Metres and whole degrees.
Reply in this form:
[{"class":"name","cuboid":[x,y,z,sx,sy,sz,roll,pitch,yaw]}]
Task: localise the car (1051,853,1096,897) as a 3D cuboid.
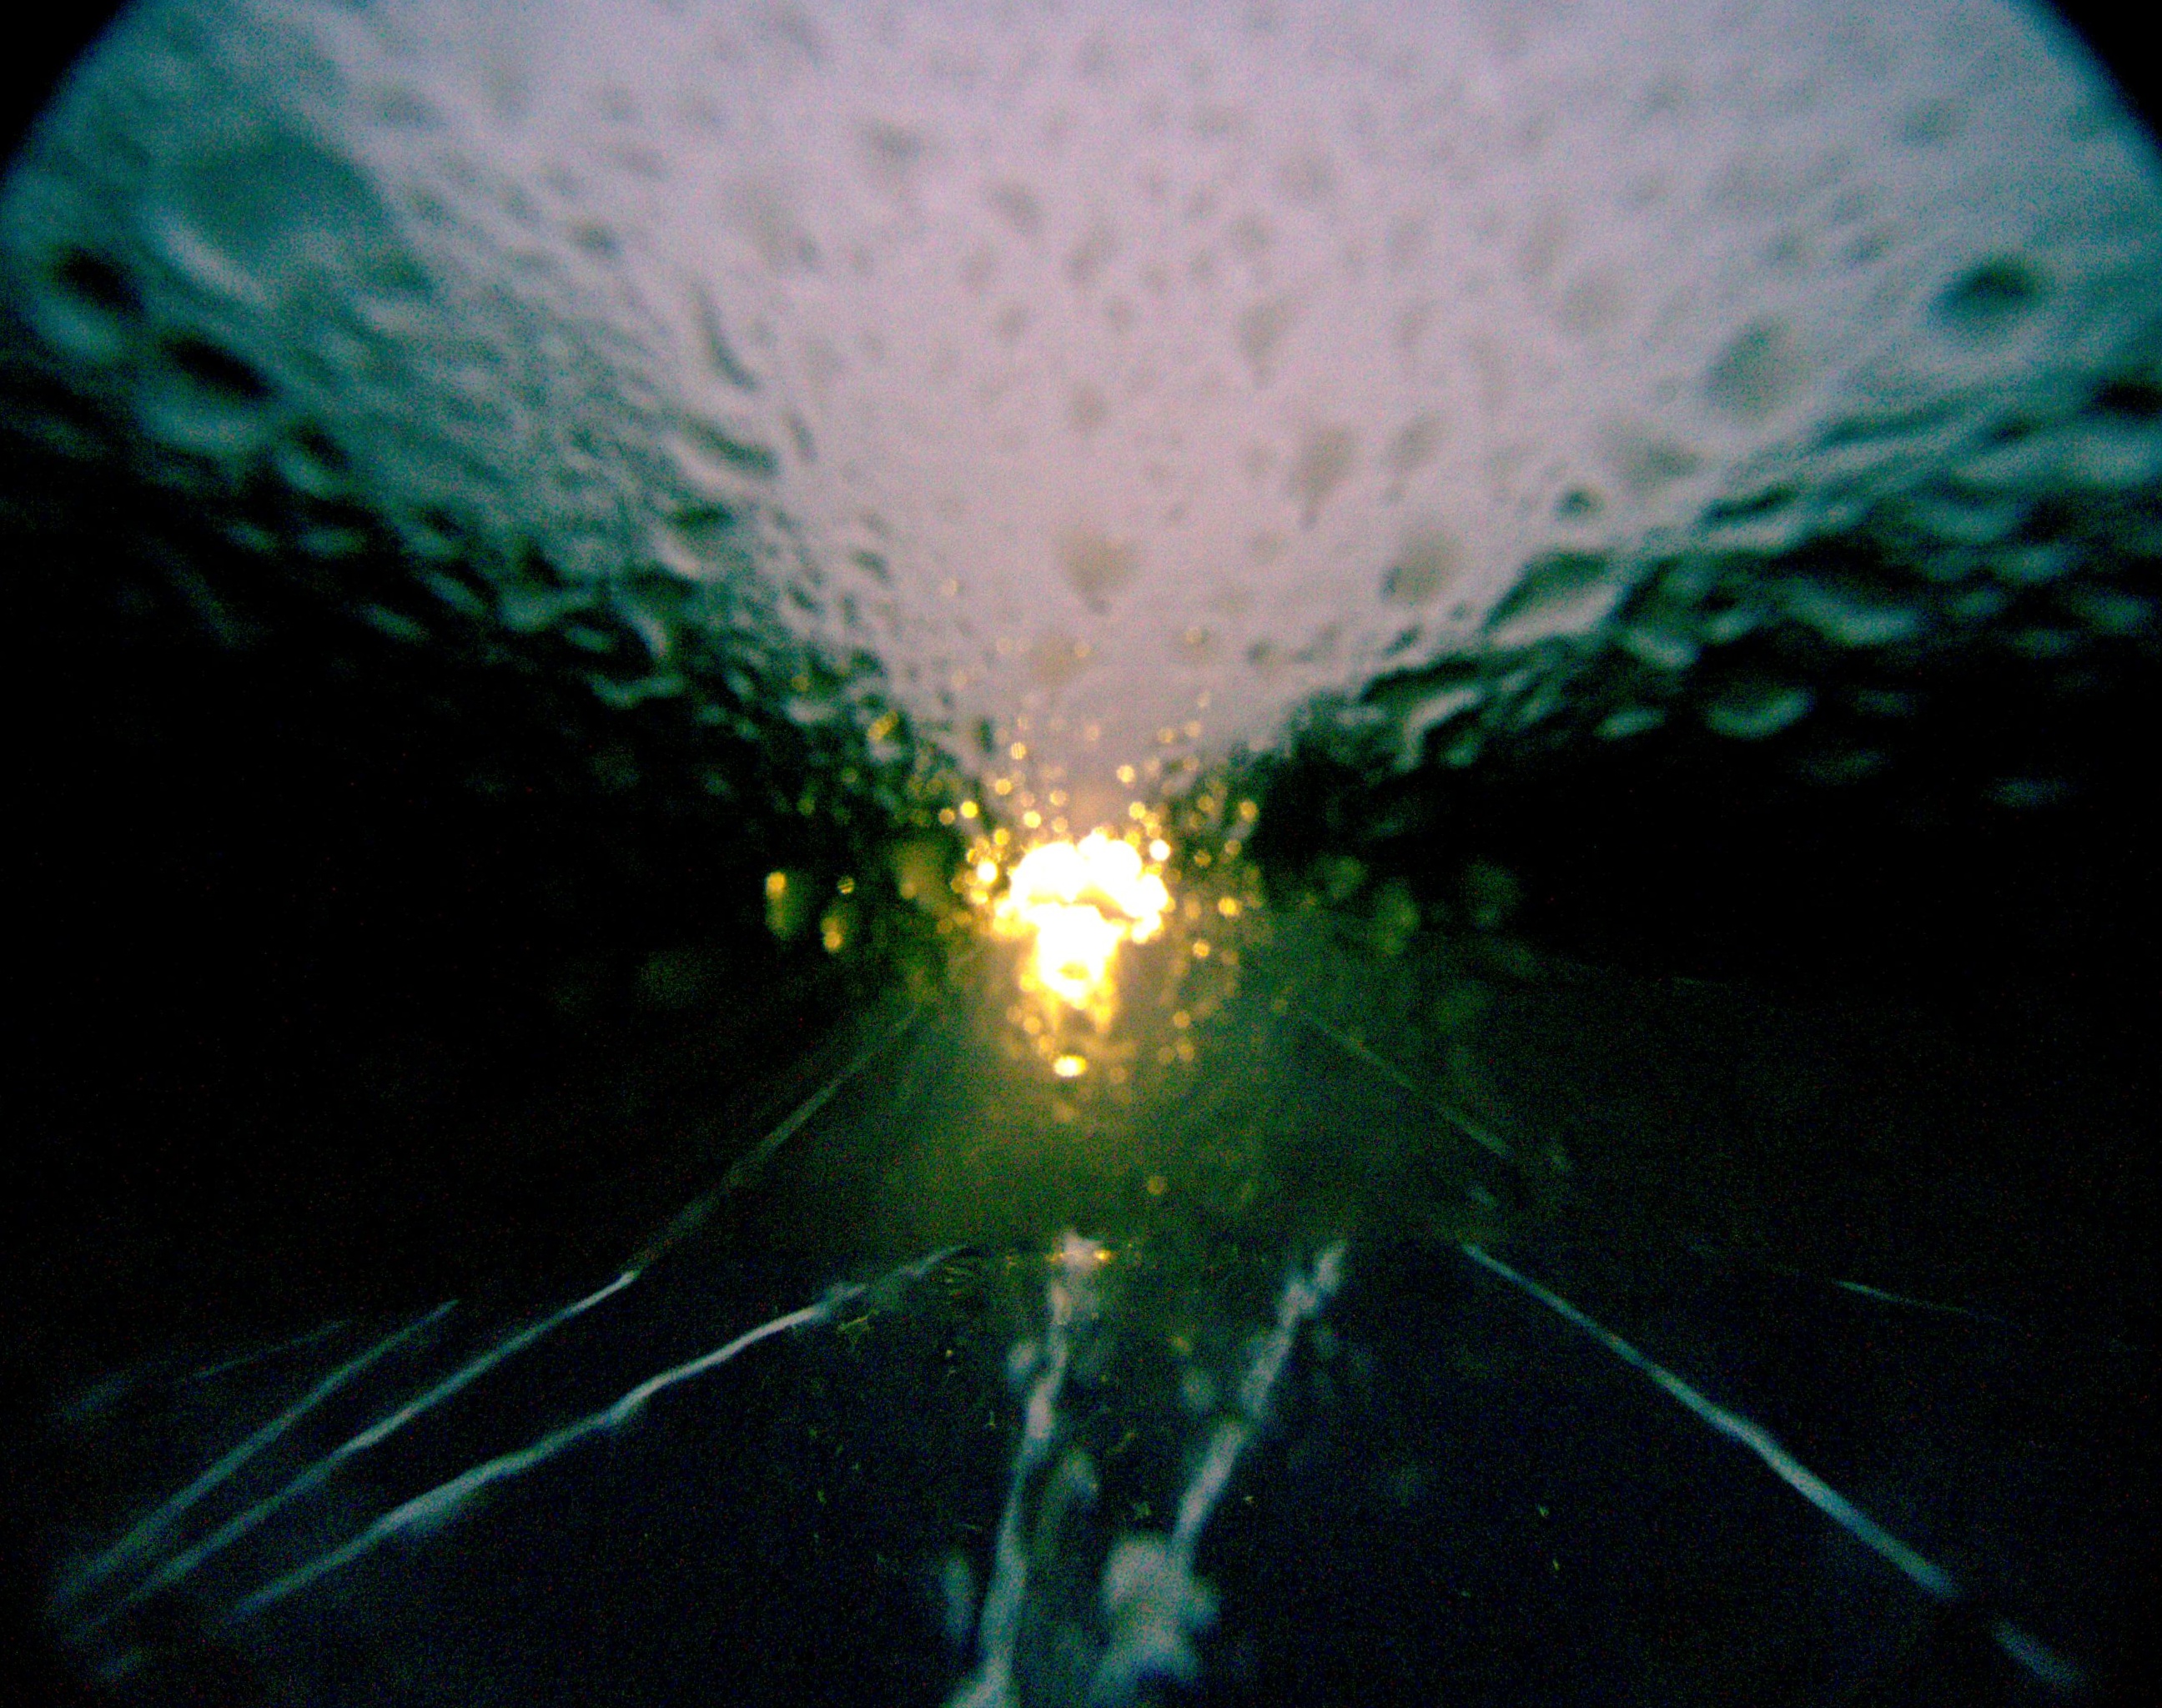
[{"class":"car","cuboid":[-0.262,0.811,31.718,1.573,1.701,4.001,-1,0,3]}]
